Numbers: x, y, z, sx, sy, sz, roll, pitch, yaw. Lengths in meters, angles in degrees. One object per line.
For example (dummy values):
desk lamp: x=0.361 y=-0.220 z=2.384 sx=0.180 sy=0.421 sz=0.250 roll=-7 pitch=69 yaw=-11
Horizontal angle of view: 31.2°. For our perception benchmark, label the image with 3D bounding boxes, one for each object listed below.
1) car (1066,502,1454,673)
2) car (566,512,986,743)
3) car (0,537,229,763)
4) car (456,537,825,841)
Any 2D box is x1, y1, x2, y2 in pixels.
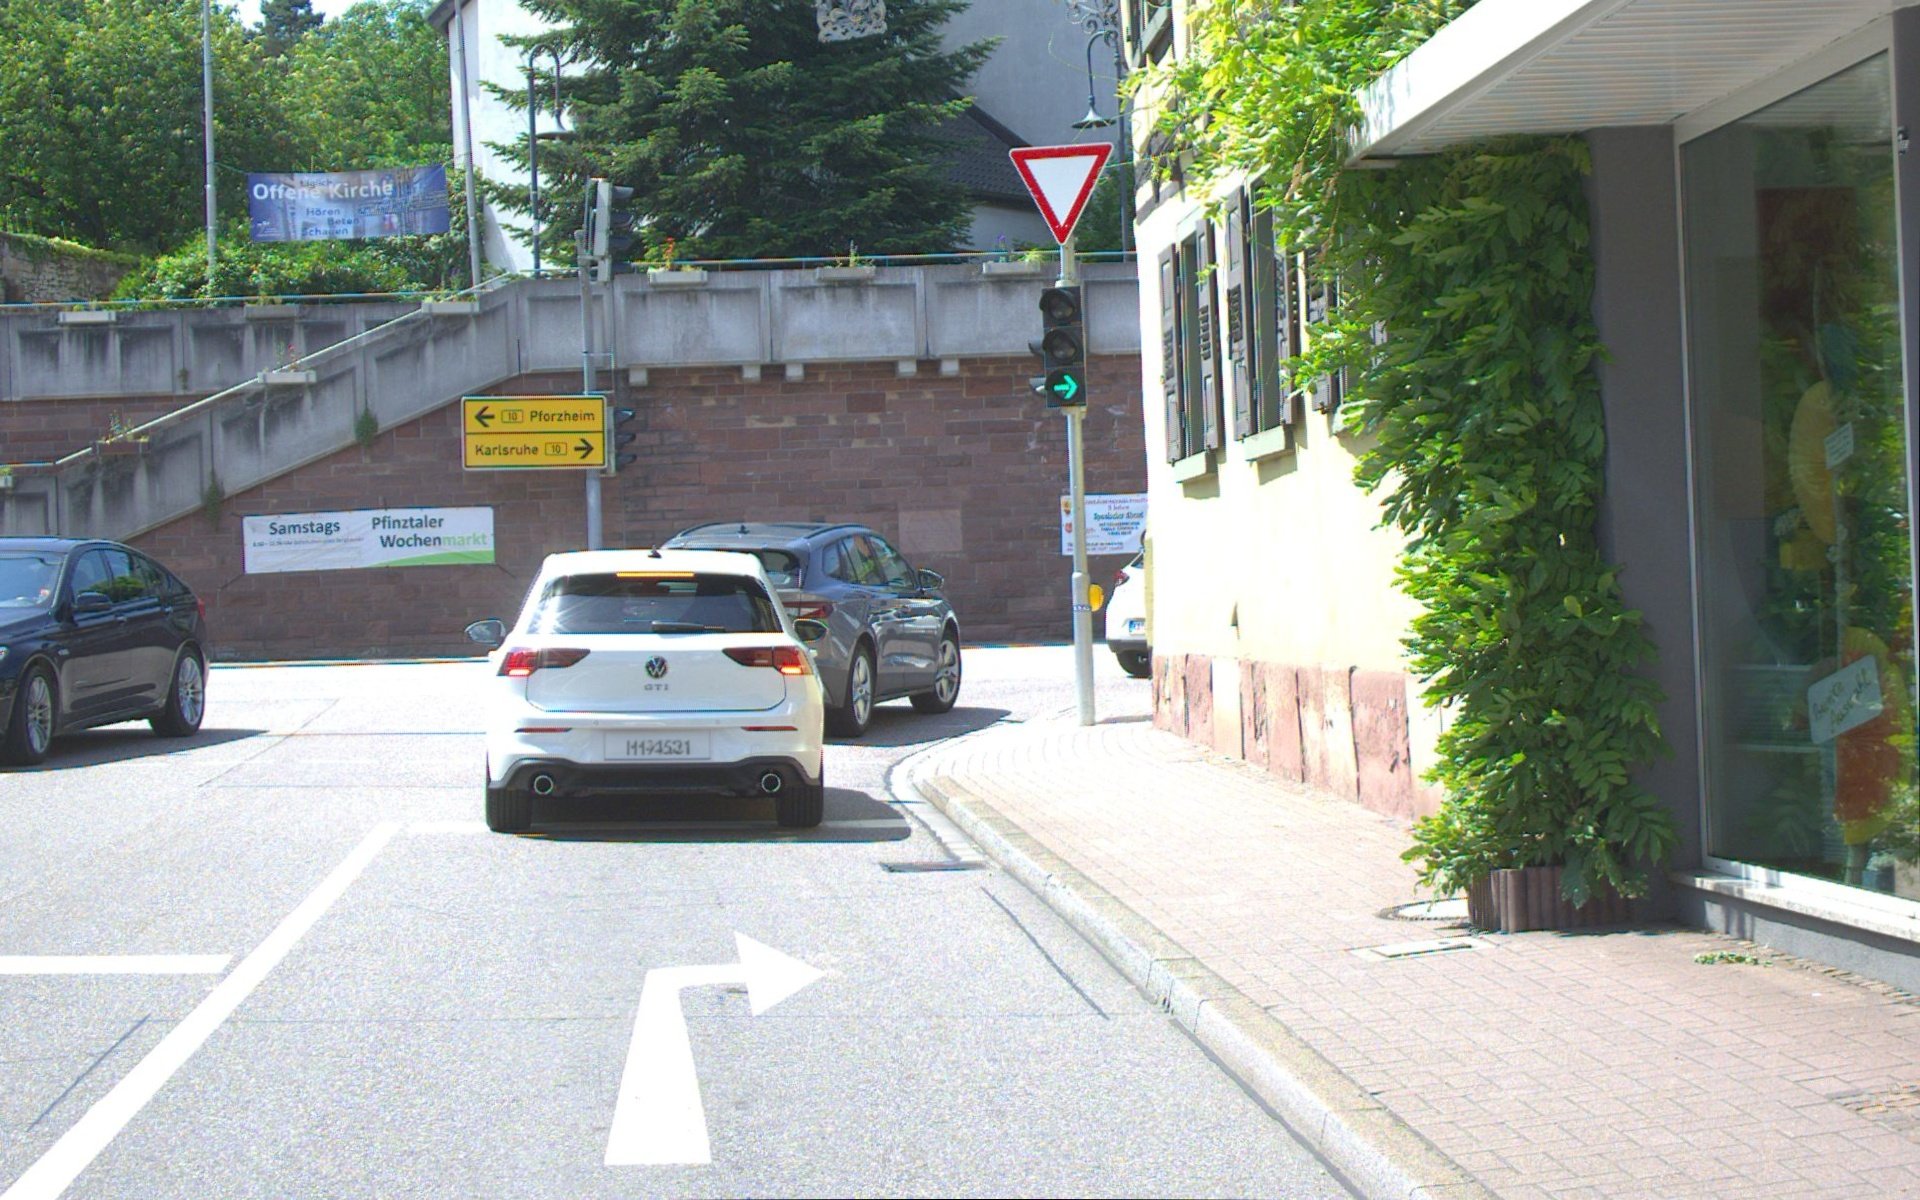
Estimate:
car: x=3.021 y=-0.171 z=34.020 sx=1.775 sy=1.491 sz=3.978 roll=1 pitch=3 yaw=42
car: x=-1.353 y=0.156 z=27.381 sx=1.951 sy=1.577 sz=4.323 roll=0 pitch=3 yaw=17
car: x=-6.978 y=0.295 z=24.926 sx=1.797 sy=1.482 sz=4.796 roll=0 pitch=1 yaw=7
car: x=-1.726 y=0.420 z=18.975 sx=1.782 sy=1.453 sz=3.863 roll=-2 pitch=1 yaw=-4
